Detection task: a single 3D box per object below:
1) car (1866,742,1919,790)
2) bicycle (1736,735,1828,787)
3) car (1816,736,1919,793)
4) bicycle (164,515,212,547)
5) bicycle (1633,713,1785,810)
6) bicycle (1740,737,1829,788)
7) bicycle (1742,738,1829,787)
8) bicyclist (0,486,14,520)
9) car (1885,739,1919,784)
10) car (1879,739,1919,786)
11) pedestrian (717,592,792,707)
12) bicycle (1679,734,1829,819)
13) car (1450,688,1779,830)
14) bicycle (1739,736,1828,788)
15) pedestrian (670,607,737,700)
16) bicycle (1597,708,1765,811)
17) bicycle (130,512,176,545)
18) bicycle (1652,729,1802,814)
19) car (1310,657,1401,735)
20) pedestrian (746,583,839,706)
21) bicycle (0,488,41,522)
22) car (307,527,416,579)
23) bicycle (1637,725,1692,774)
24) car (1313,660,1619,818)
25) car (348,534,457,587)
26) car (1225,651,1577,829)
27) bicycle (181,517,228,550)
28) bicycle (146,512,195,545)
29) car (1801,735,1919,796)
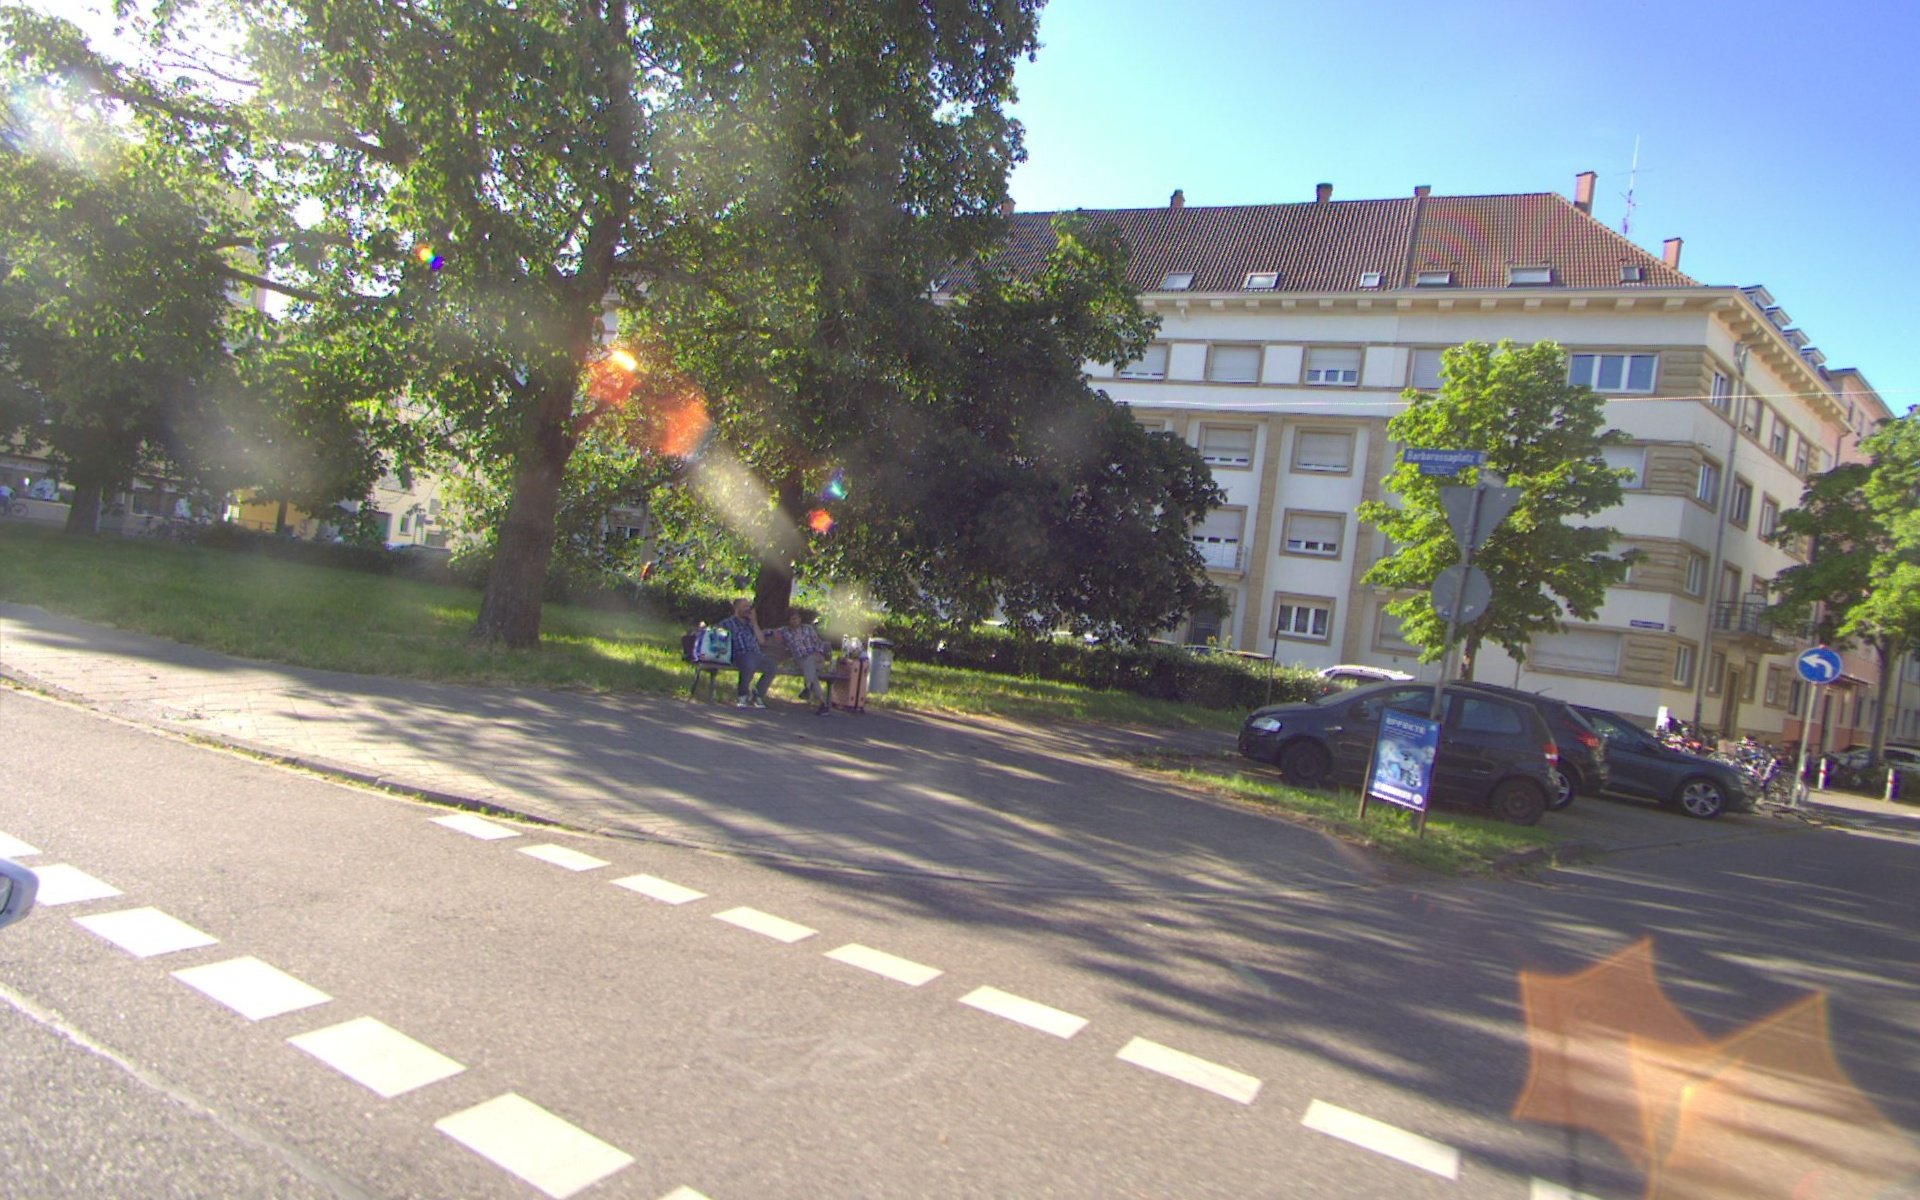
[{"bbox_3d":[37.984,6.661,38.938,1.985,1.569,3.960,11,-3,-37],"label":"car"},{"bbox_3d":[24.925,4.866,30.538,2.034,1.201,0.595,6,-3,43],"label":"bicycle"},{"bbox_3d":[34.364,6.166,37.016,1.804,1.569,3.960,10,-3,-37],"label":"car"},{"bbox_3d":[-31.118,-2.780,40.535,1.955,1.046,0.599,7,-2,26],"label":"bicycle"},{"bbox_3d":[14.335,3.053,19.353,0.552,1.474,2.330,9,-3,-17],"label":"bicycle"},{"bbox_3d":[25.973,5.108,31.707,2.034,1.201,0.595,6,-3,43],"label":"bicycle"},{"bbox_3d":[26.411,5.188,32.211,2.034,1.201,0.595,6,-3,43],"label":"bicycle"},{"bbox_3d":[-48.042,-4.875,50.441,0.456,1.584,0.529,8,-2,24],"label":"bicyclist"},{"bbox_3d":[42.401,7.153,42.879,1.985,1.724,3.960,11,-3,-37],"label":"car"},{"bbox_3d":[40.583,6.923,41.190,1.985,1.724,3.960,11,-3,-37],"label":"car"},{"bbox_3d":[-2.412,0.566,11.788,0.401,1.240,0.753,10,-2,-37],"label":"pedestrian"},{"bbox_3d":[15.487,3.419,19.725,0.546,1.231,2.331,9,-3,-15],"label":"bicycle"},{"bbox_3d":[10.603,2.532,16.688,4.162,1.458,1.640,8,1,21],"label":"car"},{"bbox_3d":[25.481,5.008,31.152,2.034,1.201,0.595,6,-3,43],"label":"bicycle"},{"bbox_3d":[-2.940,0.607,11.513,0.401,0.945,0.616,10,0,-37],"label":"pedestrian"},{"bbox_3d":[13.473,2.955,18.886,0.748,1.474,2.317,10,-3,-33],"label":"bicycle"},{"bbox_3d":[-31.501,-2.790,39.264,1.764,1.046,0.599,7,-2,26],"label":"bicycle"},{"bbox_3d":[14.872,3.301,19.609,0.552,1.240,2.330,9,-3,-16],"label":"bicycle"},{"bbox_3d":[9.442,2.218,23.905,1.548,1.389,3.350,7,3,27],"label":"car"},{"bbox_3d":[-2.078,0.543,12.440,0.682,1.388,0.748,10,-2,-37],"label":"pedestrian"},{"bbox_3d":[-48.382,-4.885,50.979,0.597,1.414,2.480,8,-3,25],"label":"bicycle"},{"bbox_3d":[-23.417,-1.808,39.485,1.547,1.547,3.258,7,-1,24],"label":"car"},{"bbox_3d":[19.949,4.220,28.520,0.586,1.201,2.065,8,-3,19],"label":"bicycle"},{"bbox_3d":[7.425,1.953,14.989,3.743,1.592,1.454,8,1,30],"label":"car"},{"bbox_3d":[-21.290,-1.490,38.520,1.547,1.547,3.258,7,-1,24],"label":"car"},{"bbox_3d":[5.396,1.676,12.827,3.736,1.513,1.641,8,1,15],"label":"car"},{"bbox_3d":[-30.847,-2.716,41.067,1.971,1.046,0.599,7,-2,26],"label":"bicycle"},{"bbox_3d":[-31.288,-2.851,39.852,1.971,1.046,0.599,7,-2,26],"label":"bicycle"},{"bbox_3d":[32.702,5.958,35.727,1.804,1.569,3.960,10,-3,-37],"label":"car"}]
